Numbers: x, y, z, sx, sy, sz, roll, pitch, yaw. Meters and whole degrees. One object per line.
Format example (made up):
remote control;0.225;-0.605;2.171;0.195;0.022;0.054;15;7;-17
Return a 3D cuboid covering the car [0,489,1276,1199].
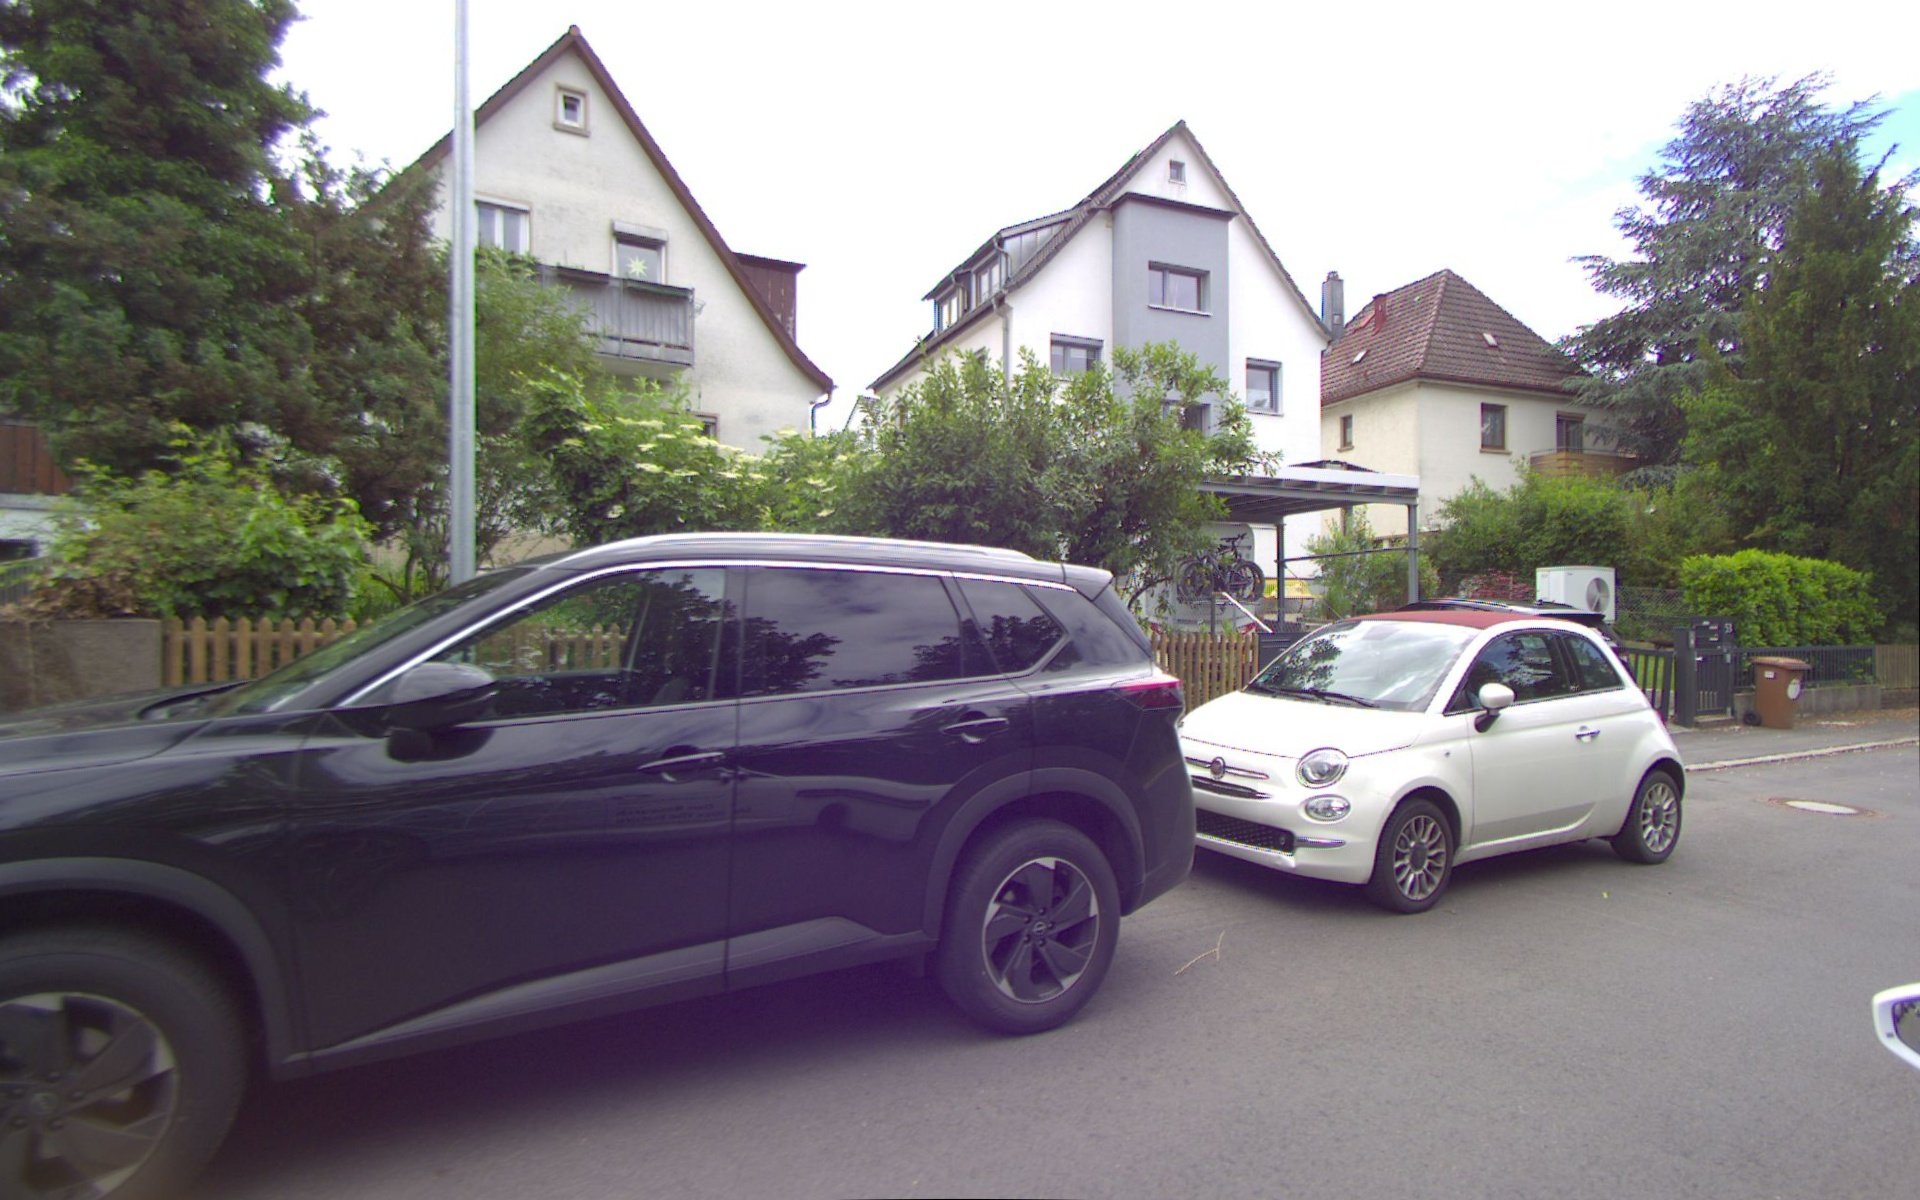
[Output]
car;-1.078;0.634;3.655;4.339;1.686;1.783;1;0;-30

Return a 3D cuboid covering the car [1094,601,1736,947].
car;2.901;0.813;6.224;3.900;1.531;1.698;1;0;-31

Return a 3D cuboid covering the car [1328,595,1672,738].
car;6.977;0.760;13.513;1.811;1.568;3.987;1;1;-15

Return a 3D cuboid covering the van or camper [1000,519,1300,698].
van or camper;3.095;0.063;18.540;2.289;2.686;6.669;1;1;-20

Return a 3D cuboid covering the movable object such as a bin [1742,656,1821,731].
movable object such as a bin;11.056;1.245;13.523;0.646;0.934;0.627;1;0;-29
